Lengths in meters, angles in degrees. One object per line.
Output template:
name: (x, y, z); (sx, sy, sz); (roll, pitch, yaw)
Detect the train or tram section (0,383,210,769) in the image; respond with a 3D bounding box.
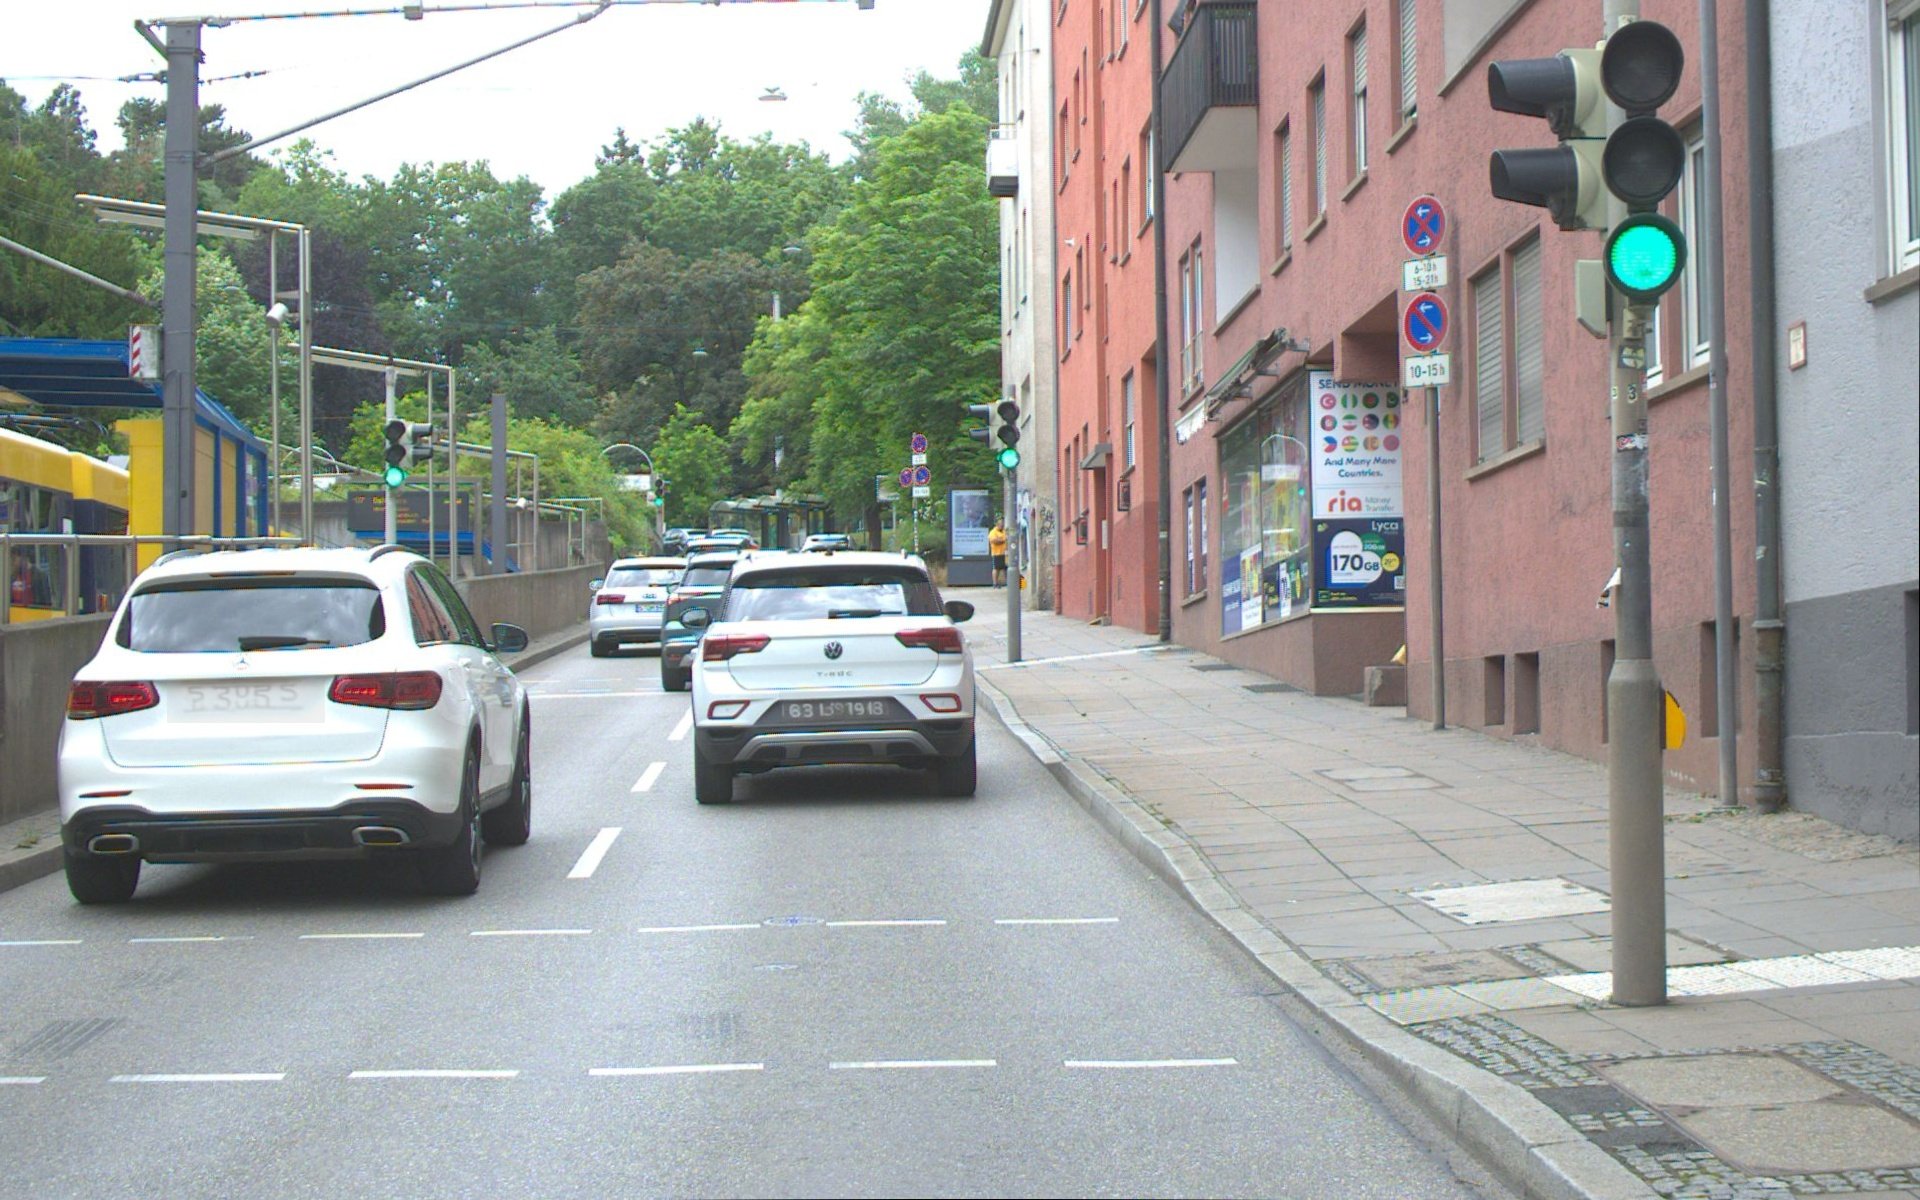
train or tram section: (-10.193, -0.054, 34.714); (2.949, 3.460, 12.218); (-1, -2, -2)

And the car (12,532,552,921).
car: (-3.194, 0.507, 17.078); (1.877, 1.646, 4.342); (0, 2, -1)

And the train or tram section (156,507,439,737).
train or tram section: (-11.208, 0.360, 59.566); (2.949, 3.497, 12.987); (-1, 0, -3)

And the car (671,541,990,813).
car: (-0.805, 0.428, 22.549); (1.865, 1.550, 3.895); (-2, 1, -1)

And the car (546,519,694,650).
car: (-5.107, -0.273, 52.052); (1.993, 1.875, 4.001); (1, 1, -3)

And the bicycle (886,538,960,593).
bicycle: (-0.837, -0.769, 76.489); (0.639, 1.139, 2.065); (-10, 5, -27)

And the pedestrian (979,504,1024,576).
pedestrian: (1.001, -1.451, 83.568); (0.833, 1.706, 0.822); (-2, 1, -16)

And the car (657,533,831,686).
car: (-2.424, 0.066, 39.431); (1.860, 1.626, 3.960); (-1, 1, -2)

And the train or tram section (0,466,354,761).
train or tram section: (-10.650, 0.248, 46.994); (2.949, 3.472, 12.219); (-1, -1, -2)
